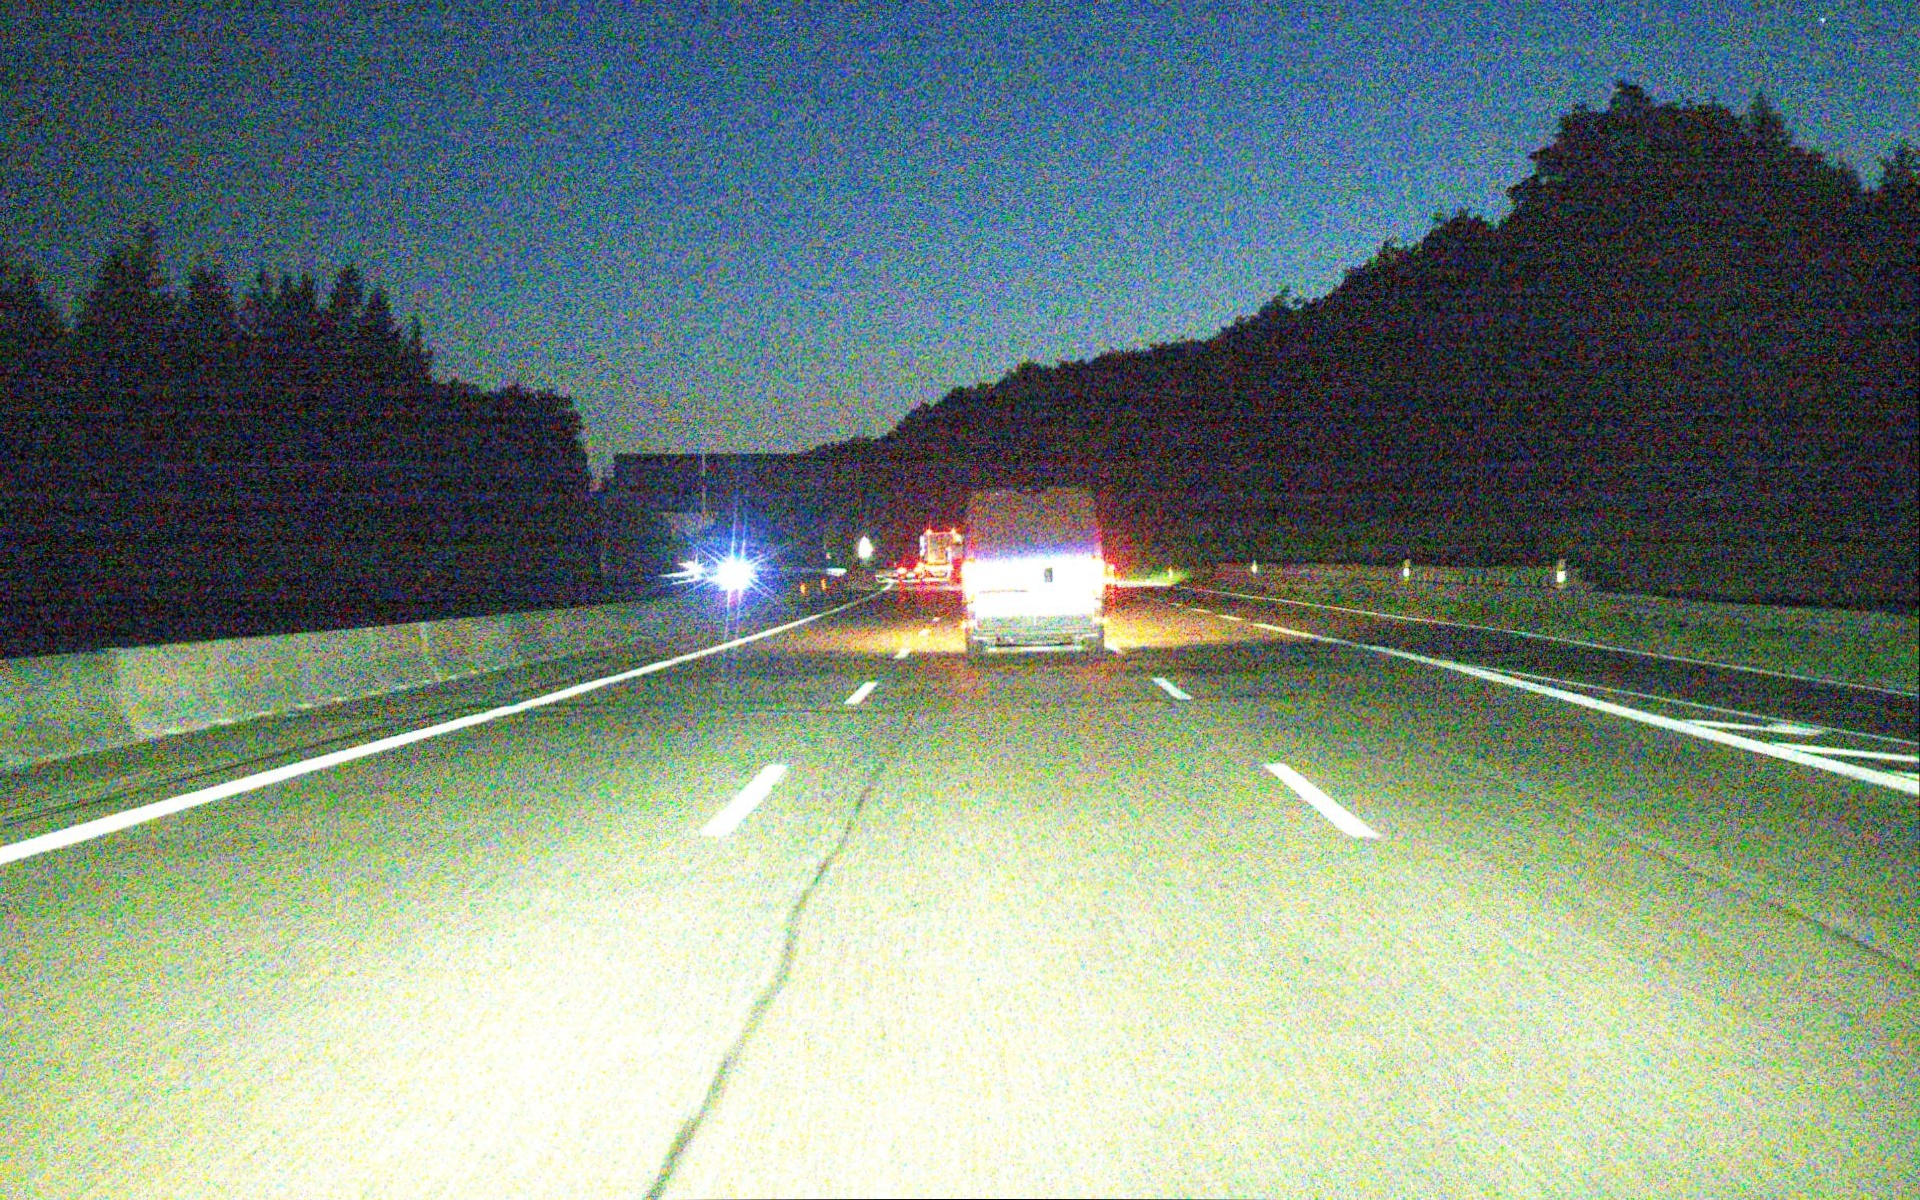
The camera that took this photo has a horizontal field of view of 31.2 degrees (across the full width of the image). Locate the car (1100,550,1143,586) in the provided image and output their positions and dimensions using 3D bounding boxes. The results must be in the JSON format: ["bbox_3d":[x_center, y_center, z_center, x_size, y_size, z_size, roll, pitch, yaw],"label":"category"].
[{"bbox_3d":[7.585,-1.533,161.703,1.843,1.634,4.000,0,1,0],"label":"car"}]

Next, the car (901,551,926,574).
[{"bbox_3d":[-3.424,-2.736,253.148,1.843,1.634,4.000,0,1,0],"label":"car"}]

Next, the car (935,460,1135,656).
[{"bbox_3d":[1.026,-0.625,51.242,2.786,2.724,6.299,0,1,0],"label":"car"}]

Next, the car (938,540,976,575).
[{"bbox_3d":[-0.221,-3.199,259.697,2.786,2.596,6.299,0,1,0],"label":"car"}]
